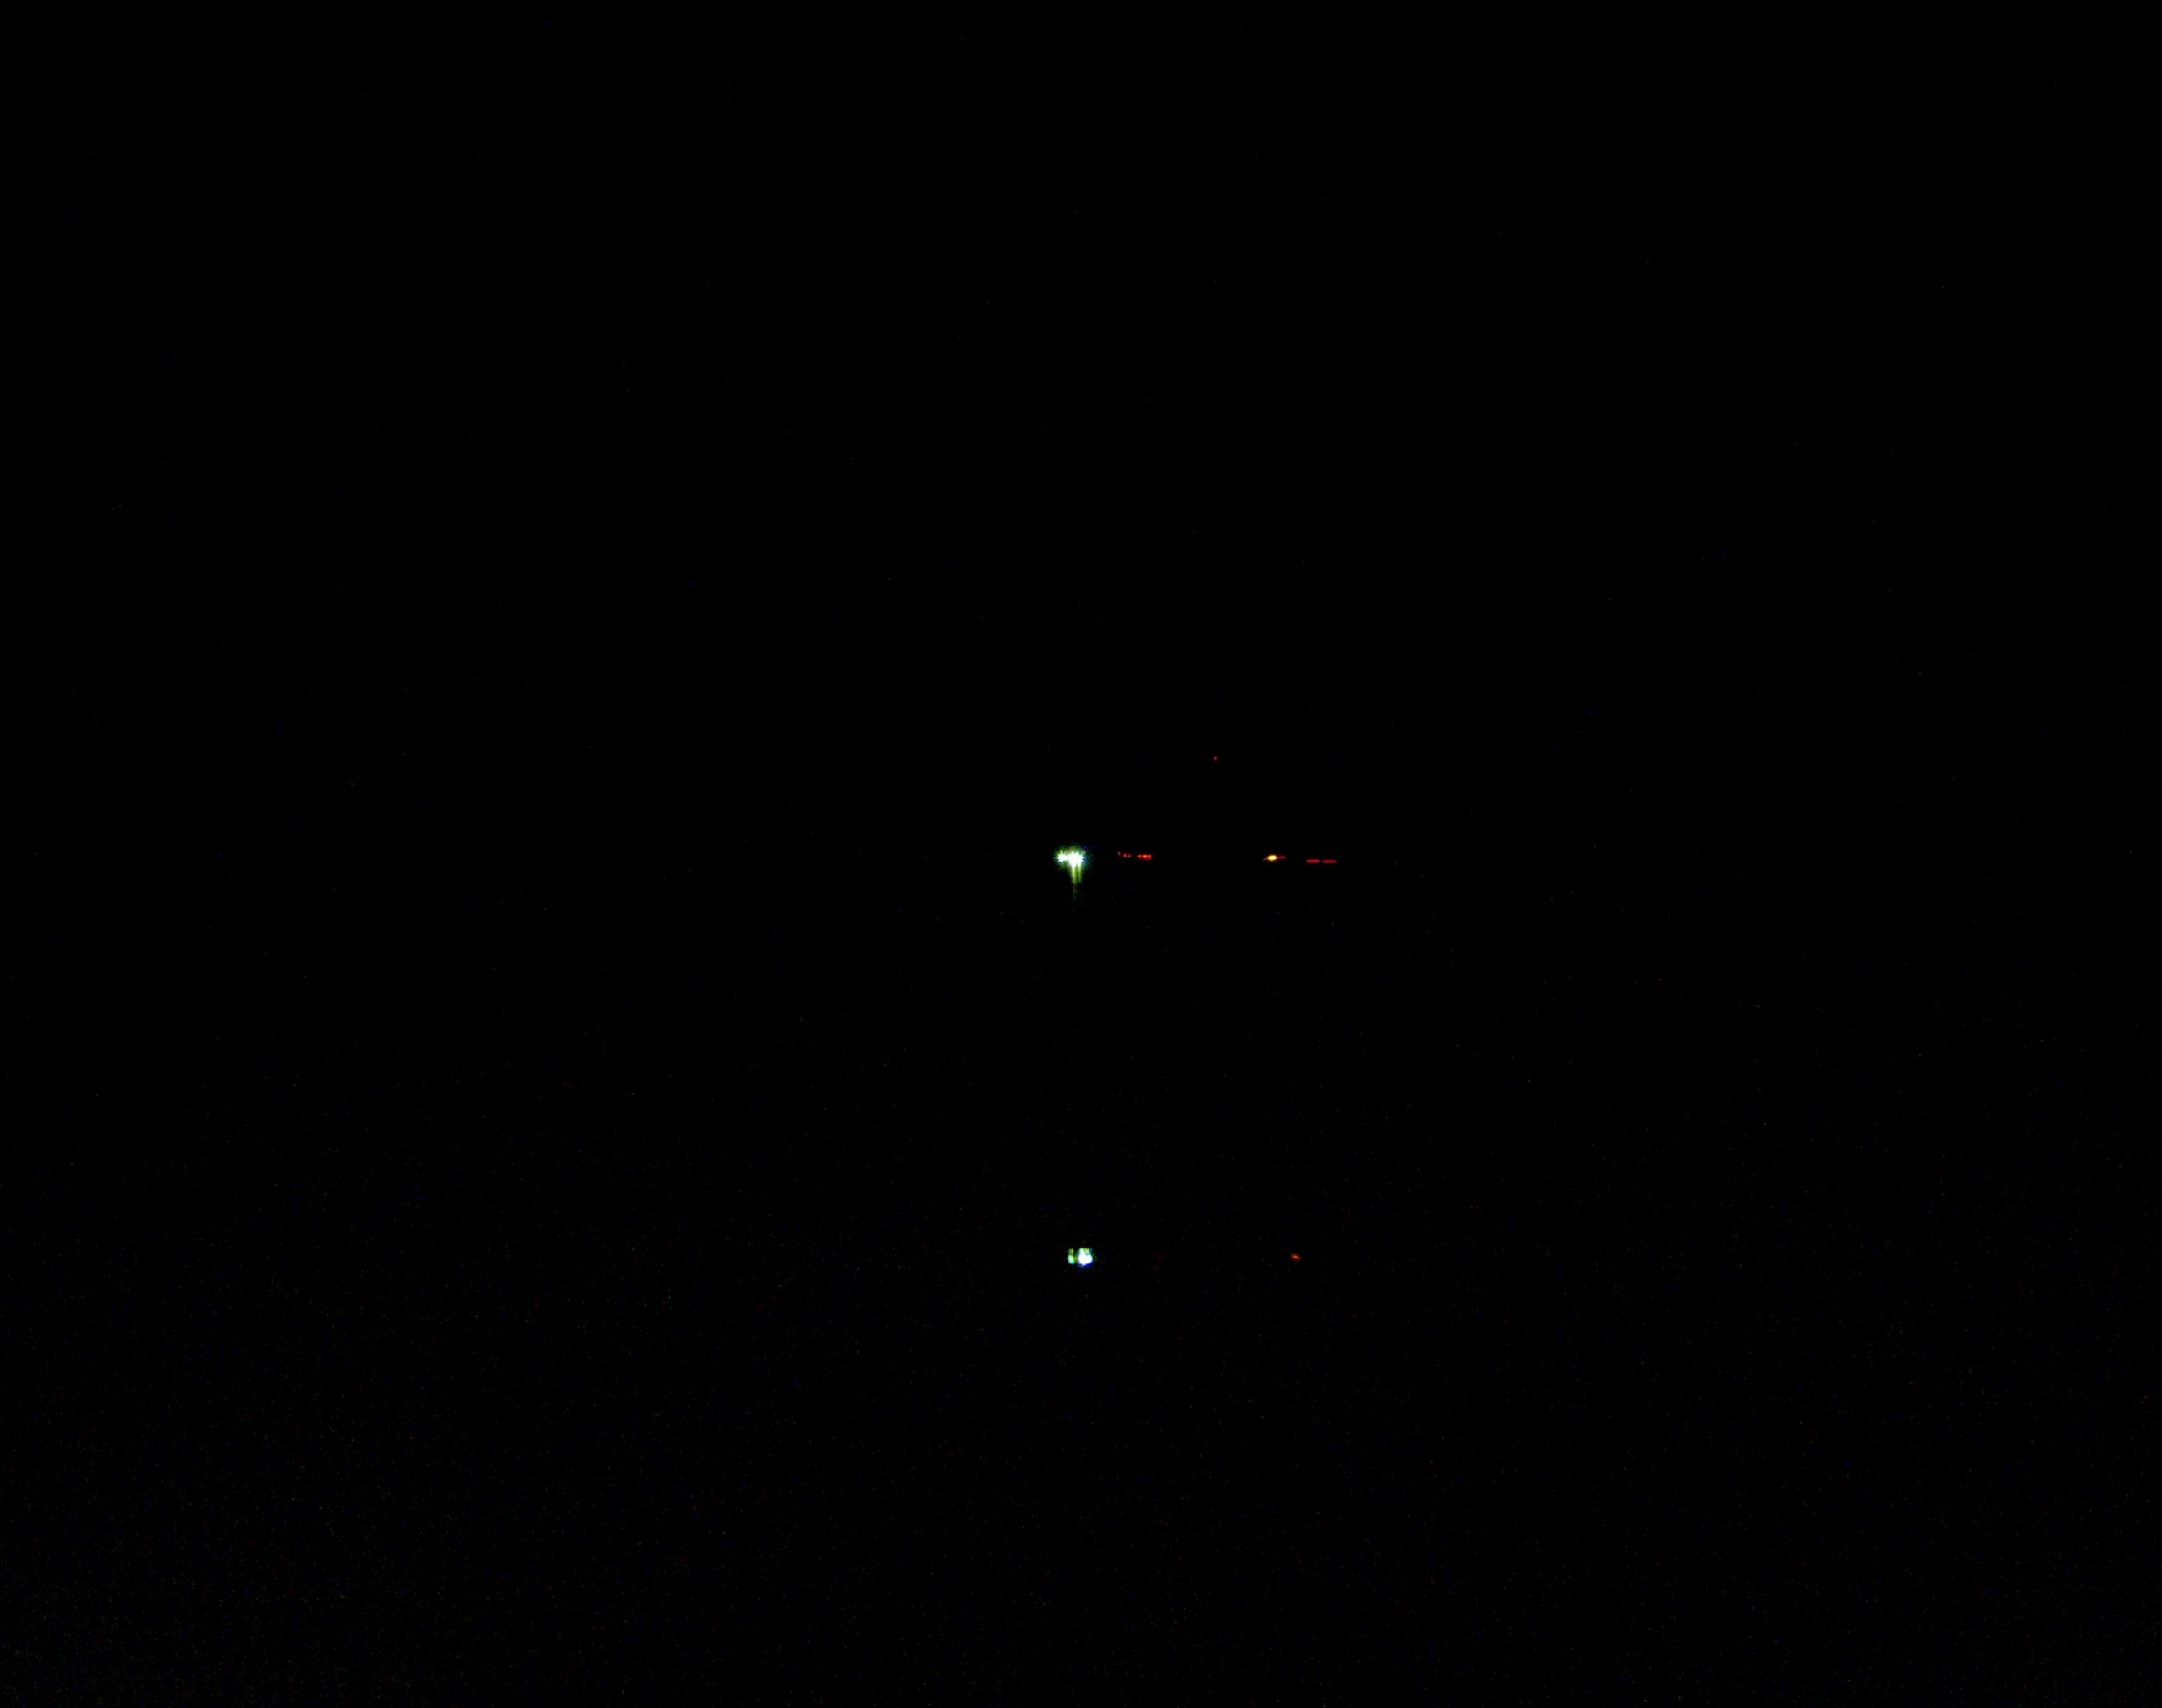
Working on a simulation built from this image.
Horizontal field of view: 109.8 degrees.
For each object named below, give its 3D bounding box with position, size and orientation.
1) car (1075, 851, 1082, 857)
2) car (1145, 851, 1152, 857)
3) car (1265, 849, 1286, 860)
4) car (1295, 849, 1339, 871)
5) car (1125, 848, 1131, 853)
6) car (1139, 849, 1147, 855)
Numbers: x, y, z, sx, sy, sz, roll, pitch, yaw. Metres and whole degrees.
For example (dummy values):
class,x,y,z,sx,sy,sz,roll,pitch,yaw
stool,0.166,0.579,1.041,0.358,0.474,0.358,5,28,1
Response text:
class,x,y,z,sx,sy,sz,roll,pitch,yaw
car,-0.636,0.006,199.160,1.859,1.608,3.999,-2,1,1
car,21.414,-0.040,242.115,1.859,1.609,3.999,-2,1,1
car,26.811,0.052,104.812,1.796,1.471,3.999,-2,1,1
car,19.793,0.472,63.978,2.014,1.641,5.109,-2,1,0
car,16.542,-1.361,268.602,1.859,1.609,3.999,-2,1,1
car,18.513,-0.690,226.631,1.859,1.609,3.999,-2,1,1
